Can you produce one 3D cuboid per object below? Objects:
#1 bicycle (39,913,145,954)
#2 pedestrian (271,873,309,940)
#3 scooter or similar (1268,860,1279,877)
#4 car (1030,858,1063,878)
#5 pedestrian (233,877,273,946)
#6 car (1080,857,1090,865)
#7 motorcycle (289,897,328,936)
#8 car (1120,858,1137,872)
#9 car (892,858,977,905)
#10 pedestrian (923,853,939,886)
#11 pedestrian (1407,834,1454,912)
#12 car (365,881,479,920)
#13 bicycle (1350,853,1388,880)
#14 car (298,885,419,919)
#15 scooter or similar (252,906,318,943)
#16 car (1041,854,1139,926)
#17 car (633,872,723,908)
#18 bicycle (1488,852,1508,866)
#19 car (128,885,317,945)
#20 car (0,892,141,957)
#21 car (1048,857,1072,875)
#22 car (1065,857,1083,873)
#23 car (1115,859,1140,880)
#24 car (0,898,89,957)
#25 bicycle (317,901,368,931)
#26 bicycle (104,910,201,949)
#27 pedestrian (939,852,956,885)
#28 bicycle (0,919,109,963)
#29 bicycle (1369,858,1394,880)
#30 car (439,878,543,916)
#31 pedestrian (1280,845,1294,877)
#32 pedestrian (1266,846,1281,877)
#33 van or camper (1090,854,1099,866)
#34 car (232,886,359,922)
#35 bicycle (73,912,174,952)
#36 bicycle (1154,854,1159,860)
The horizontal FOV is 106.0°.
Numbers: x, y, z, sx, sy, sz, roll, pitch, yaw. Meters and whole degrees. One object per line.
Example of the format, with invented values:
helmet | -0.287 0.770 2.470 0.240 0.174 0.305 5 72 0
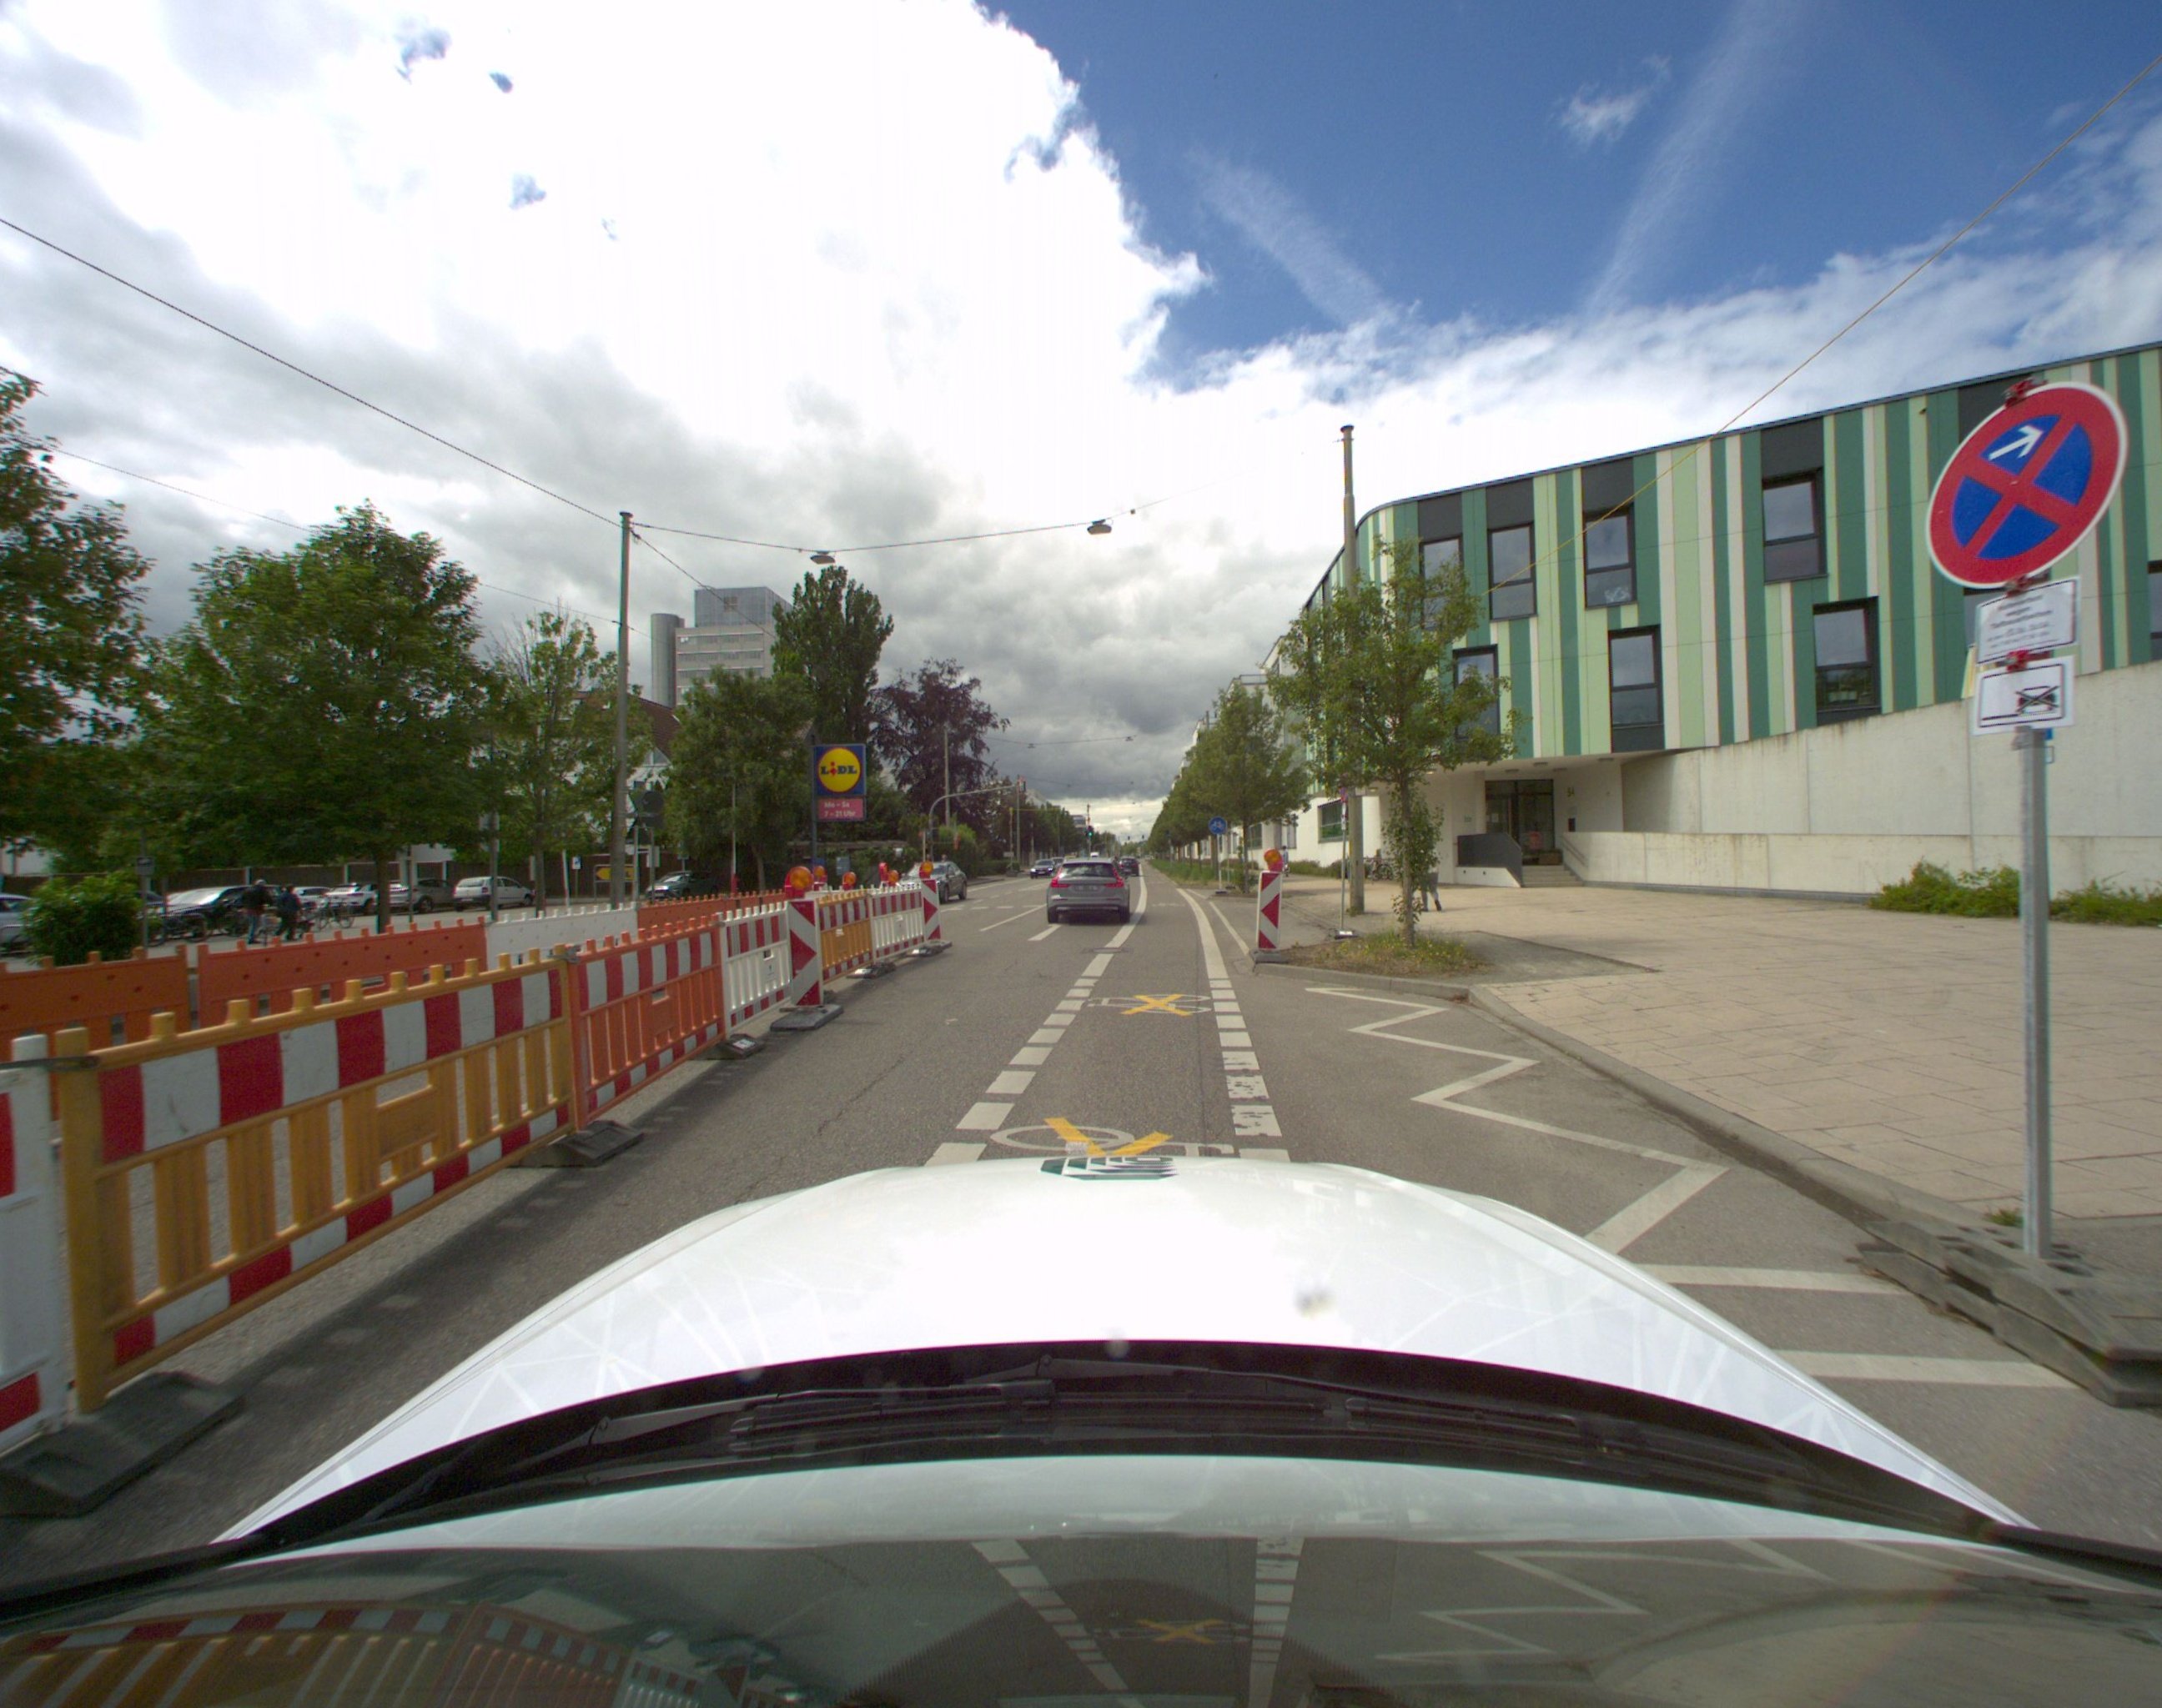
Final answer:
bicycle | -26.509 2.121 21.857 1.884 0.957 0.347 -2 -1 -19
pedestrian | -22.290 1.468 22.959 0.419 1.859 0.612 -2 -1 1
scooter or similar | 10.185 0.774 43.082 0.420 0.905 0.682 -2 -1 4
car | -2.651 1.044 63.577 1.985 1.400 4.816 -4 -1 4
pedestrian | -22.969 1.572 22.593 0.419 1.859 0.612 -2 -1 1
car | 0.811 1.367 154.332 1.654 1.515 4.004 -1 0 4
motorcycle | -25.566 2.056 26.977 0.866 1.193 1.932 -2 -1 -42
car | 5.275 1.190 90.901 1.837 1.513 4.004 -1 0 3
car | -5.291 0.960 29.956 1.844 1.513 4.009 -2 -1 8
pedestrian | -8.563 0.874 46.593 0.678 1.854 0.707 -2 -1 4
pedestrian | 7.273 0.392 16.966 0.578 1.551 0.870 -2 -1 4
car | -30.621 2.130 38.014 1.987 1.552 3.999 -2 -1 0
bicycle | 11.853 0.504 33.477 1.464 1.046 0.306 -2 -1 -9
car | -33.528 2.199 37.959 1.987 1.288 3.999 -2 -1 0
scooter or similar | -22.956 2.023 23.520 0.651 0.943 1.230 -2 0 1
car | 0.322 0.765 19.313 1.844 1.513 4.009 0 0 8
car | -18.870 1.660 38.348 1.985 1.453 4.004 -2 -1 4
bicycle | 13.187 0.156 25.755 0.304 0.452 0.801 -2 0 10
car | -28.918 1.999 27.642 1.985 1.695 4.004 -2 0 4
car | -28.898 1.907 21.747 1.985 1.572 4.677 -2 -1 3
car | -1.970 1.129 77.390 1.741 1.555 4.407 -2 0 4
car | -0.797 1.364 102.135 1.833 1.904 4.690 -2 0 4
car | 3.588 1.179 63.225 1.846 1.513 4.004 -1 0 3
car | -31.297 2.139 22.460 1.985 1.572 4.677 -2 -1 3
bicycle | -25.578 2.137 28.209 1.641 0.957 0.314 -2 -1 9
bicycle | -26.713 2.156 23.448 1.884 0.957 0.347 -2 -1 -19
pedestrian | -7.624 0.825 46.590 0.678 1.854 0.893 -2 -1 4
bicycle | -26.337 2.207 20.785 1.894 0.957 0.345 -2 -1 -40
bicycle | 11.969 0.594 32.387 1.028 0.842 0.304 -2 -1 -29
car | -28.020 2.015 38.877 1.987 1.552 3.999 -2 -1 0
pedestrian | 10.891 0.366 43.036 0.548 1.655 0.607 -2 -1 3
pedestrian | 10.300 0.399 43.617 0.602 1.655 0.552 -2 -1 3
van or camper | 3.290 1.381 195.742 1.987 2.734 6.051 -2 0 0
car | -36.482 2.302 37.997 1.987 1.398 3.999 -2 -1 0
bicycle | -26.607 2.160 22.655 1.884 0.957 0.347 -2 -1 -19
bicycle | 18.705 0.716 201.284 1.062 1.453 2.980 -3 0 3
